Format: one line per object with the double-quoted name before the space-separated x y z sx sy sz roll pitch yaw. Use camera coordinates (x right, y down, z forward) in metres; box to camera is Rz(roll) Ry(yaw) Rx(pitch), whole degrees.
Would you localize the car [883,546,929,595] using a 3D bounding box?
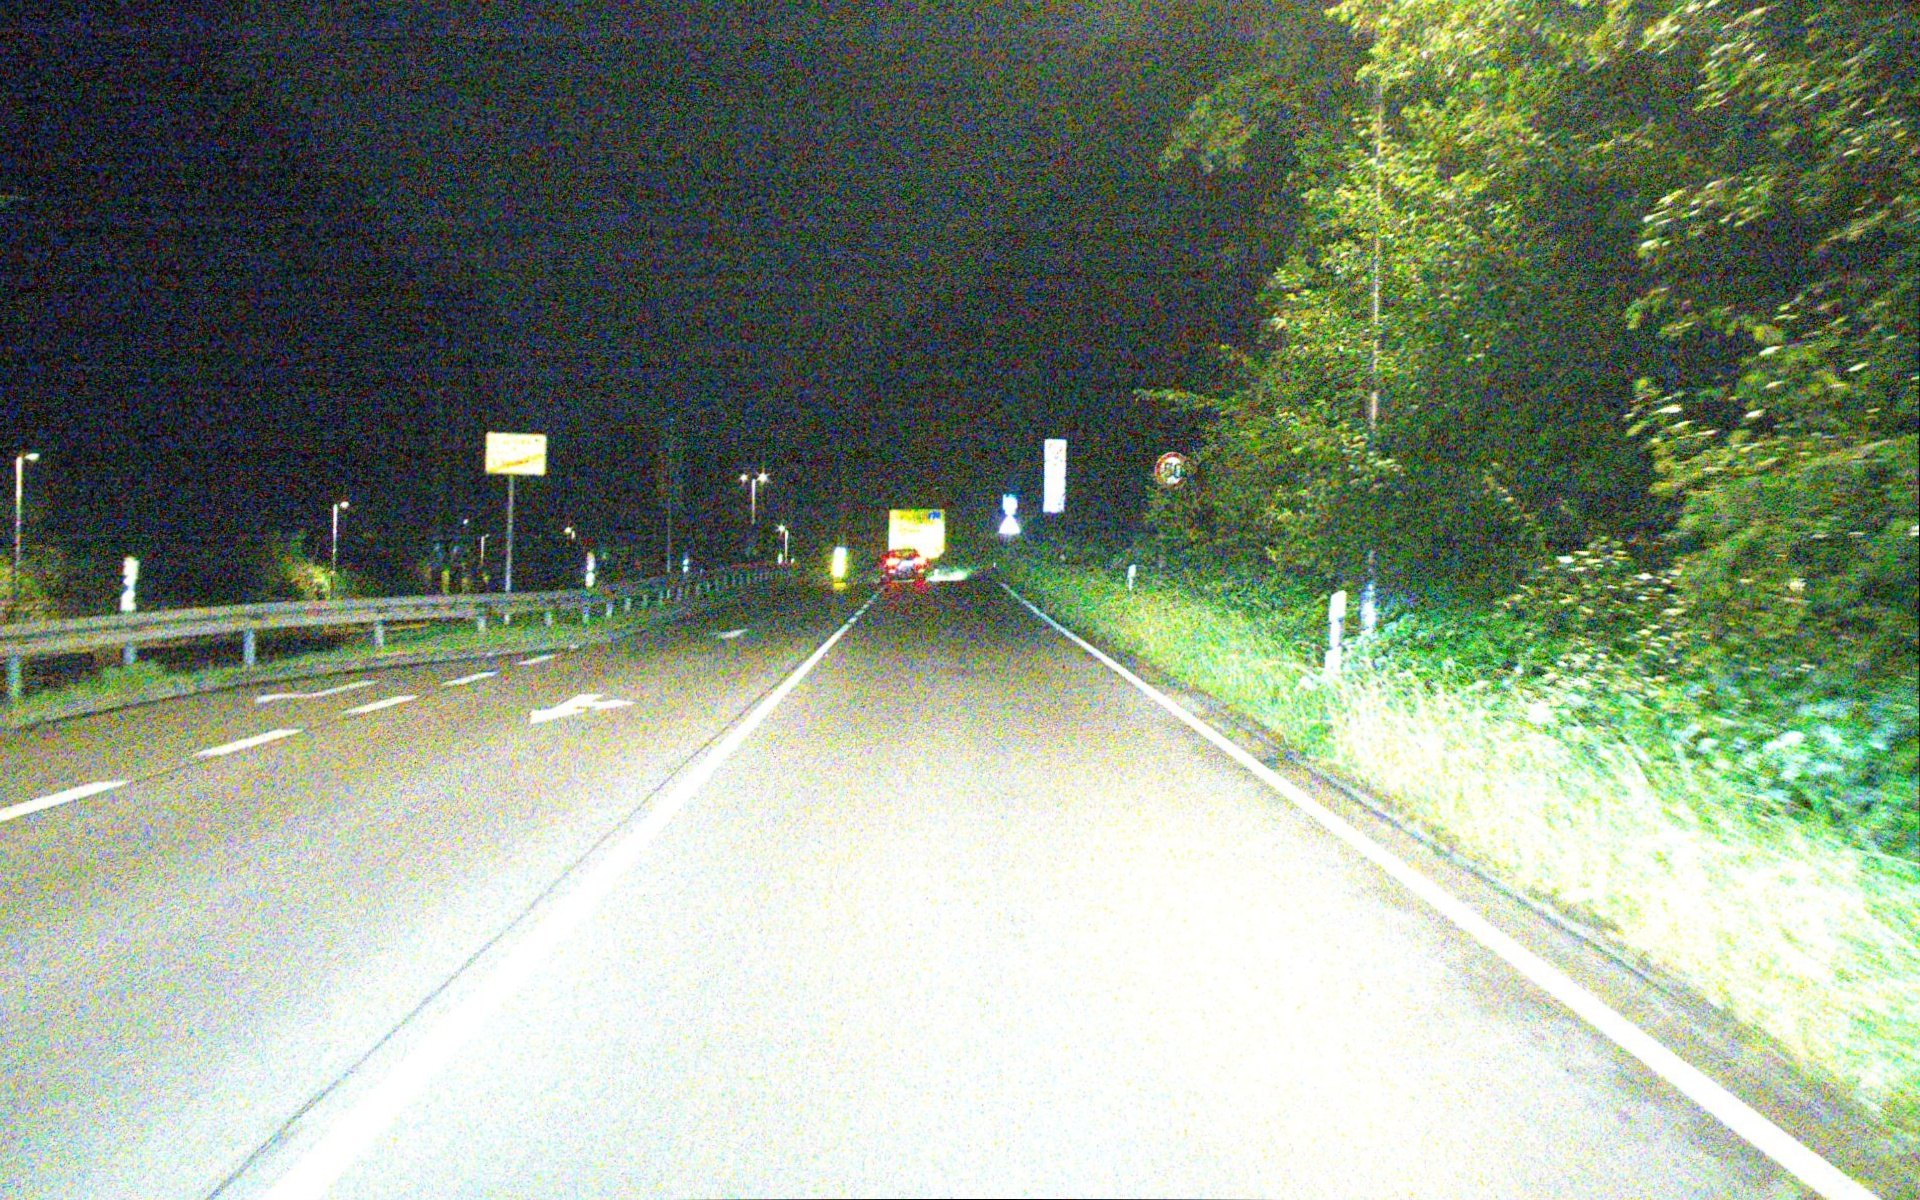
"car" -2.465 -1.325 156.778 1.993 2.007 4.000 2 -2 -1
